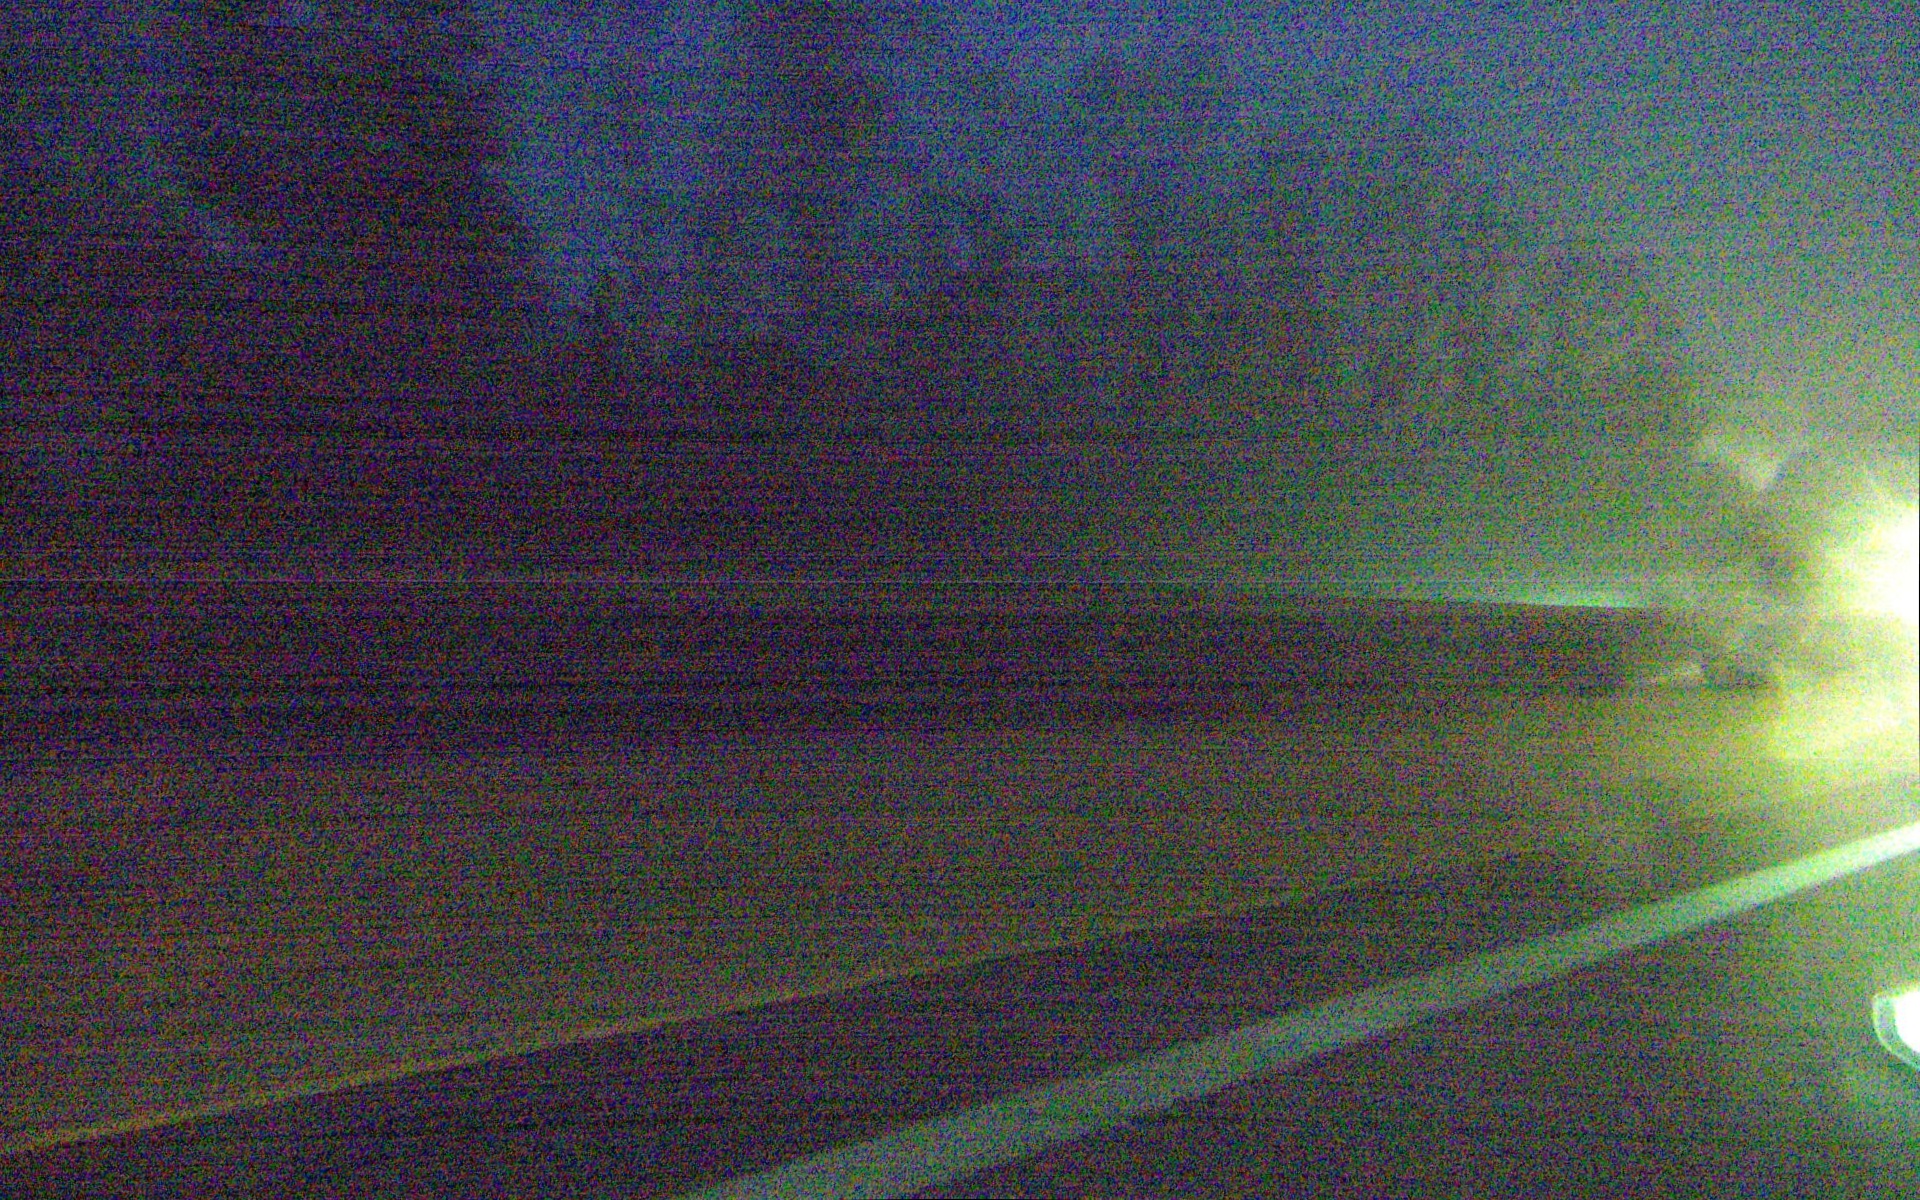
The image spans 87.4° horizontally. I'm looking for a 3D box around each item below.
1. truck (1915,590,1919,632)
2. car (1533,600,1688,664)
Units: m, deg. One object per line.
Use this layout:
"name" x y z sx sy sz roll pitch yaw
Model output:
"truck" 122.957 1.417 126.988 5.842 5.167 2.724 -2 6 -45
"car" 17.911 0.824 27.627 3.955 1.499 1.983 0 5 -32
